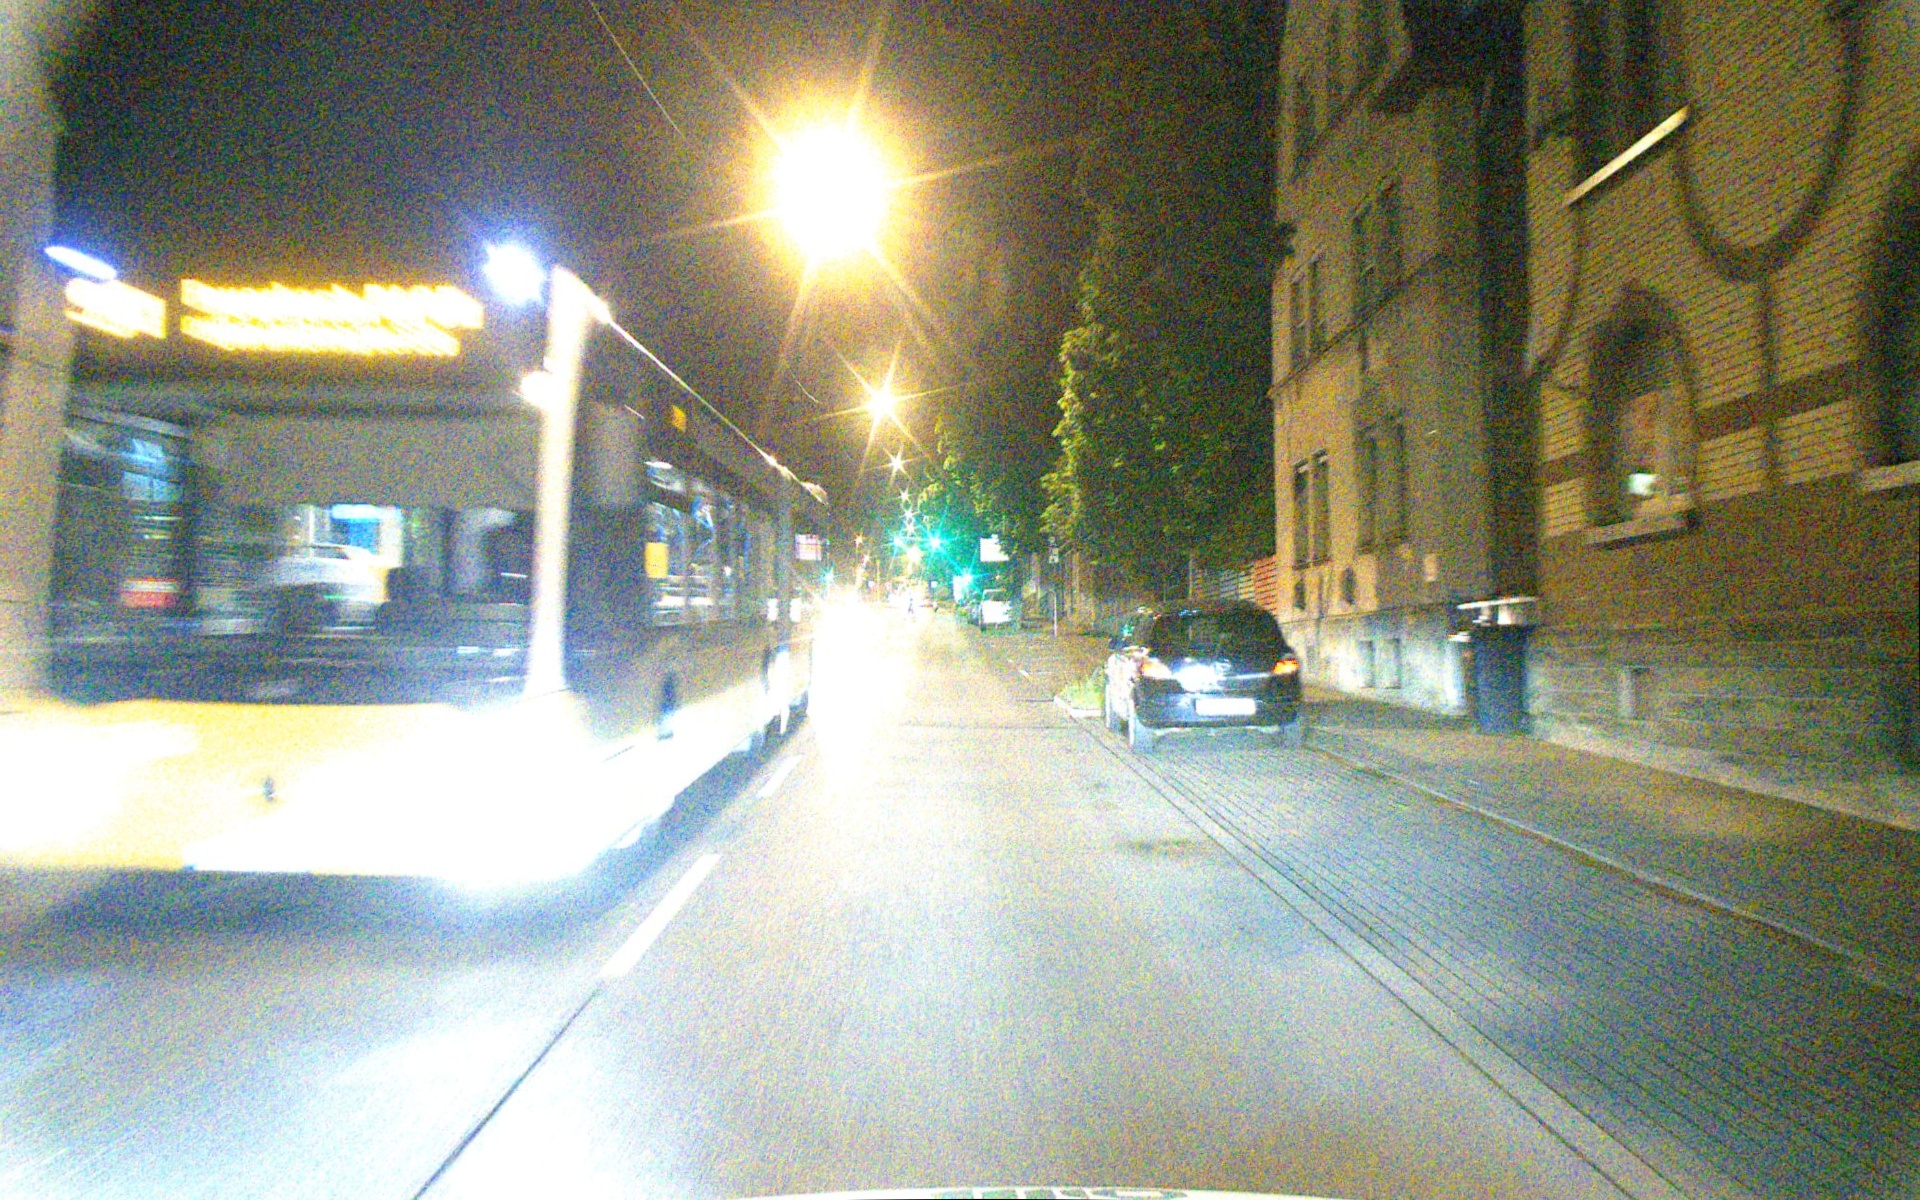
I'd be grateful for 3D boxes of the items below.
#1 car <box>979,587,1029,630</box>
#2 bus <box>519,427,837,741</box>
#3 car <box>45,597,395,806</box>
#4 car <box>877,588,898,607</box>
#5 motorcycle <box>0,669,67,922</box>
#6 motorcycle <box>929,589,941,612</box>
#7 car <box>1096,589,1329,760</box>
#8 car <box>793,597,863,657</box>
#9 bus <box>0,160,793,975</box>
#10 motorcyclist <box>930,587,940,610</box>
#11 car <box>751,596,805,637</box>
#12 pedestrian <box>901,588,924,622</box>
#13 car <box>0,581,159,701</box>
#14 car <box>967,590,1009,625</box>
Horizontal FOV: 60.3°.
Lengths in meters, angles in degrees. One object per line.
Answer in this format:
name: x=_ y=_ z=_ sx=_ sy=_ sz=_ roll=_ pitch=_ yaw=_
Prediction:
car: x=1.734 y=0.309 z=66.117 sx=1.775 sy=1.622 sz=4.272 roll=-2 pitch=1 yaw=-1
bus: x=-3.197 y=-0.188 z=20.940 sx=2.780 sy=3.233 sz=7.659 roll=0 pitch=0 yaw=-1
car: x=-5.926 y=0.765 z=13.574 sx=1.605 sy=1.524 sz=2.765 roll=-1 pitch=-1 yaw=0
car: x=-6.904 y=-0.219 z=157.358 sx=1.905 sy=1.747 sz=3.999 roll=0 pitch=-1 yaw=-1
motorcycle: x=-5.401 y=0.933 z=8.215 sx=2.162 sy=1.150 sz=0.714 roll=-1 pitch=0 yaw=32
motorcycle: x=-1.948 y=0.062 z=128.960 sx=0.912 sy=1.783 sz=2.624 roll=0 pitch=-1 yaw=-1
car: x=2.513 y=0.676 z=17.395 sx=1.727 sy=1.502 sz=4.079 roll=-2 pitch=1 yaw=-1
car: x=-3.410 y=0.672 z=43.317 sx=1.612 sy=1.447 sz=3.869 roll=-2 pitch=0 yaw=-2
bus: x=-3.029 y=-0.155 z=11.829 sx=2.780 sy=3.233 sz=10.496 roll=0 pitch=0 yaw=-1
motorcyclist: x=-1.950 y=-0.098 z=128.957 sx=0.831 sy=1.783 sz=0.805 roll=0 pitch=-1 yaw=-1
car: x=-6.775 y=0.607 z=61.910 sx=1.686 sy=1.463 sz=4.807 roll=0 pitch=0 yaw=-3
pedestrian: x=-2.547 y=0.273 z=88.054 sx=0.913 sy=1.729 sz=0.760 roll=2 pitch=0 yaw=-29
car: x=-13.271 y=0.522 z=22.155 sx=4.139 sy=1.531 sz=1.873 roll=0 pitch=-1 yaw=1
car: x=1.302 y=0.329 z=79.546 sx=1.831 sy=1.553 sz=4.149 roll=-2 pitch=1 yaw=-1
